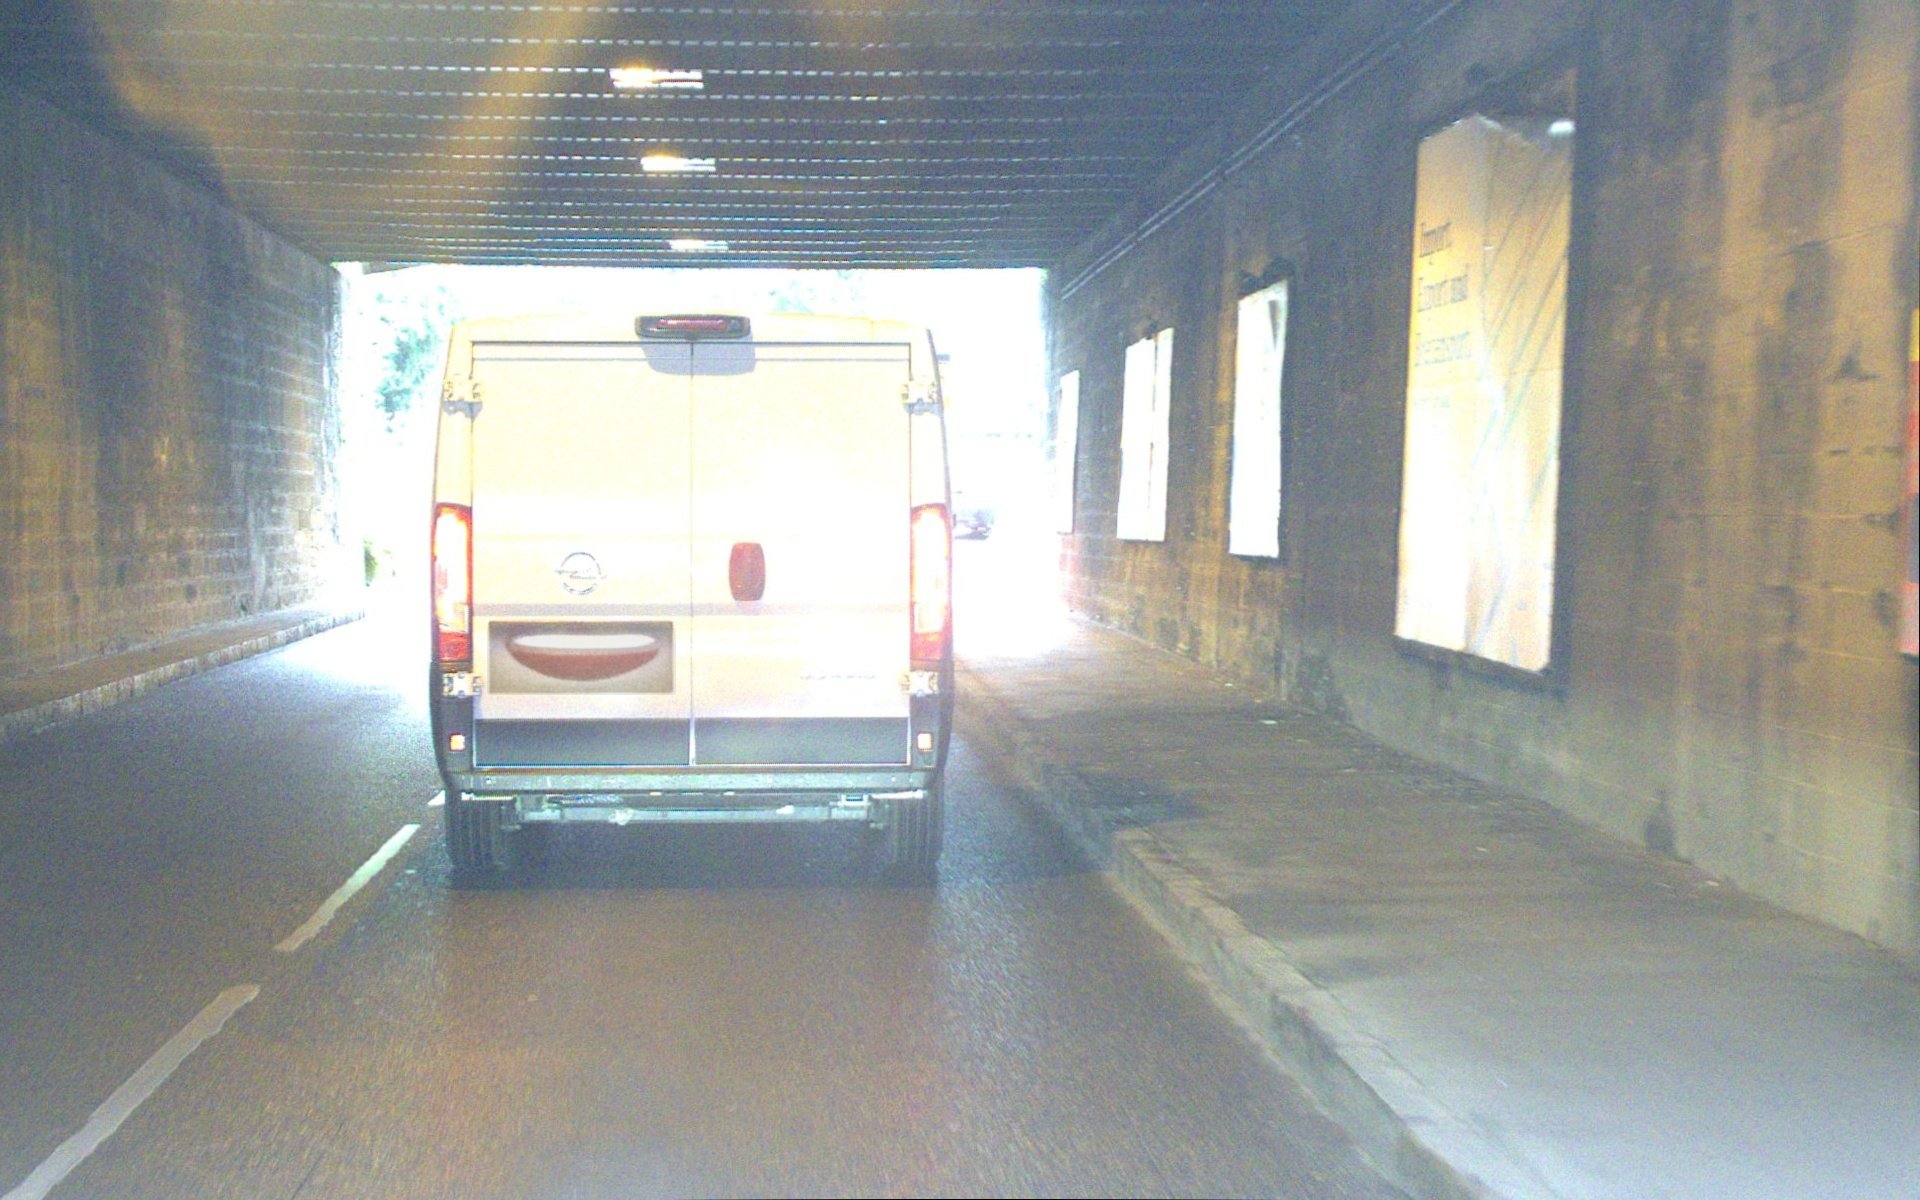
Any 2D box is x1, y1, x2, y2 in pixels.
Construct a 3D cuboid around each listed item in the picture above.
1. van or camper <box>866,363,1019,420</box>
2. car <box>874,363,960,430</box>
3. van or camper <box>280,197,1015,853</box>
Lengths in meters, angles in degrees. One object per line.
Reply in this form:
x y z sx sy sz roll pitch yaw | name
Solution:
-0.600 -7.383 121.882 5.309 2.006 2.078 0 2 3 | van or camper
-1.308 -6.055 102.663 1.993 1.941 4.002 0 3 -10 | car
-1.309 -0.302 15.160 2.698 2.408 4.904 0 0 -4 | van or camper
